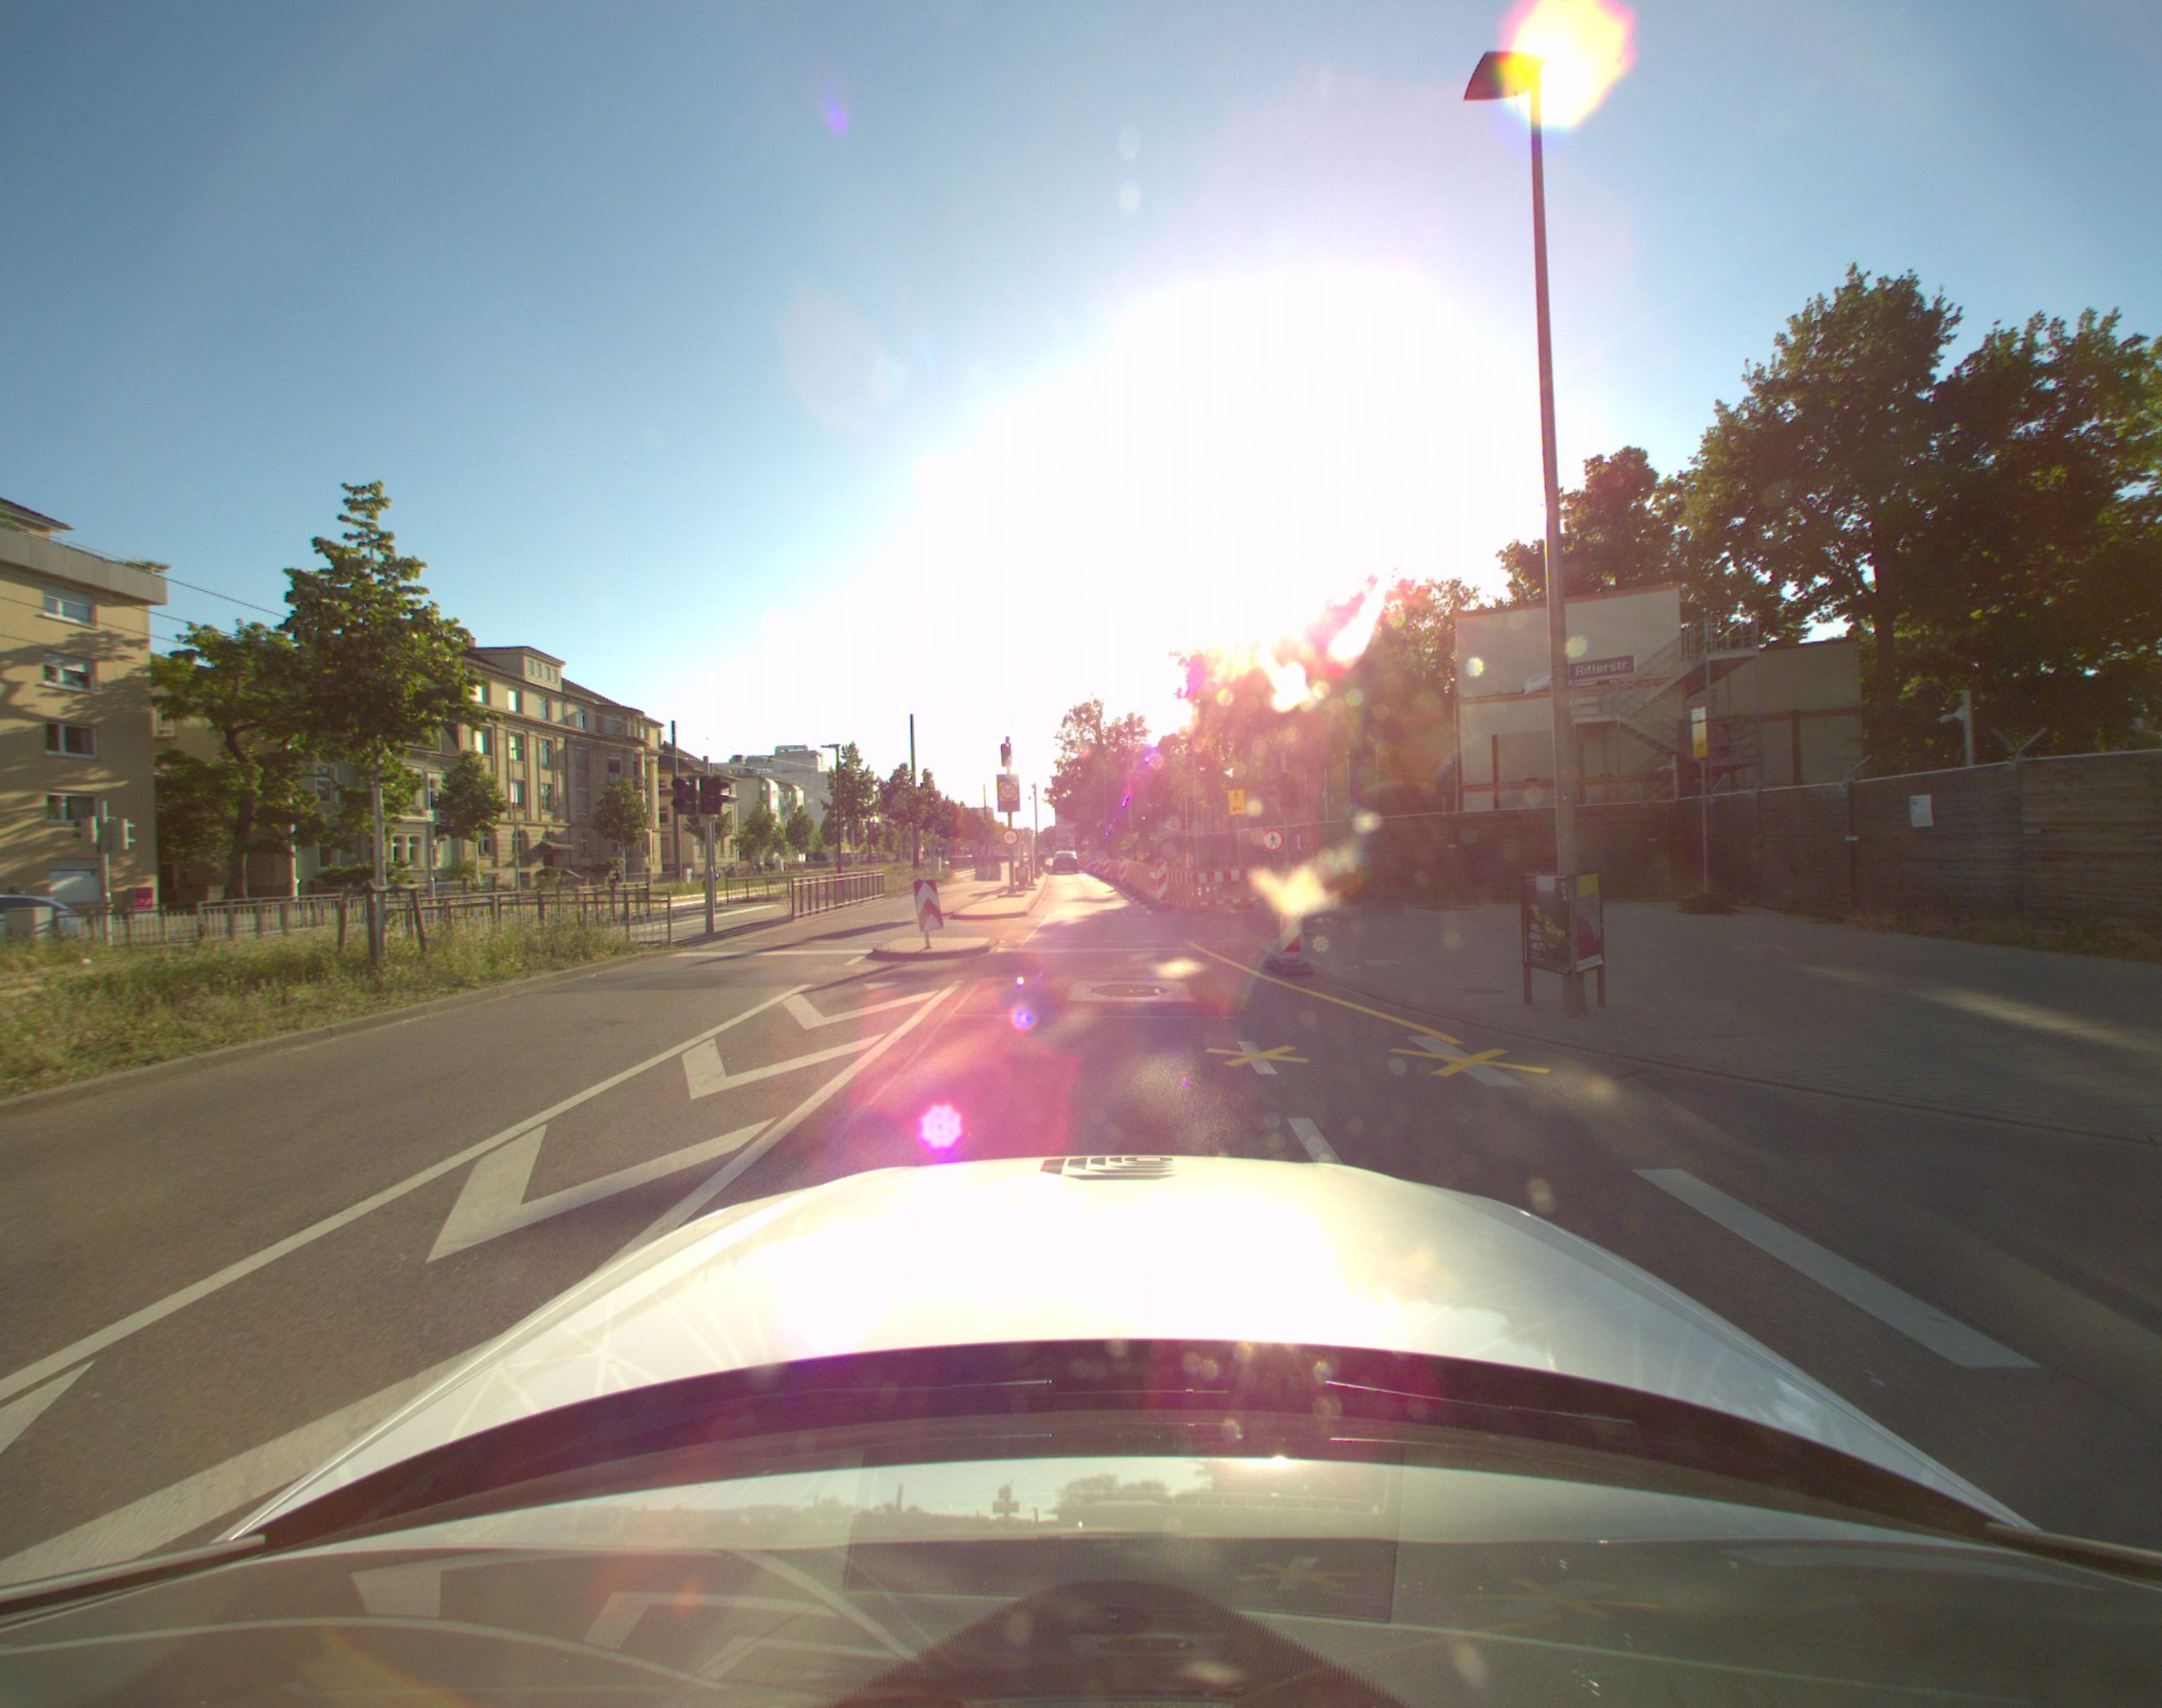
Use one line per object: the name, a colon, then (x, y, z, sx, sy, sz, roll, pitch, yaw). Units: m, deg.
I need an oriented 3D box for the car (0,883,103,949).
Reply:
car: (-26.168, 1.517, 18.725, 1.772, 1.463, 4.658, -2, 0, -2)

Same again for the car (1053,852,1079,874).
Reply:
car: (-1.169, 0.710, 62.917, 2.000, 1.659, 3.998, 0, 0, -1)

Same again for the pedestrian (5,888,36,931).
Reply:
pedestrian: (-39.624, 2.059, 30.423, 0.518, 1.555, 0.448, -2, 0, -3)

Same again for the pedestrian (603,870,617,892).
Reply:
pedestrian: (-37.982, 2.202, 65.689, 0.654, 1.720, 0.652, -2, 0, -3)

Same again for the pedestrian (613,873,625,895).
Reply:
pedestrian: (-37.322, 2.392, 65.769, 0.554, 1.720, 0.652, -2, 0, -3)
